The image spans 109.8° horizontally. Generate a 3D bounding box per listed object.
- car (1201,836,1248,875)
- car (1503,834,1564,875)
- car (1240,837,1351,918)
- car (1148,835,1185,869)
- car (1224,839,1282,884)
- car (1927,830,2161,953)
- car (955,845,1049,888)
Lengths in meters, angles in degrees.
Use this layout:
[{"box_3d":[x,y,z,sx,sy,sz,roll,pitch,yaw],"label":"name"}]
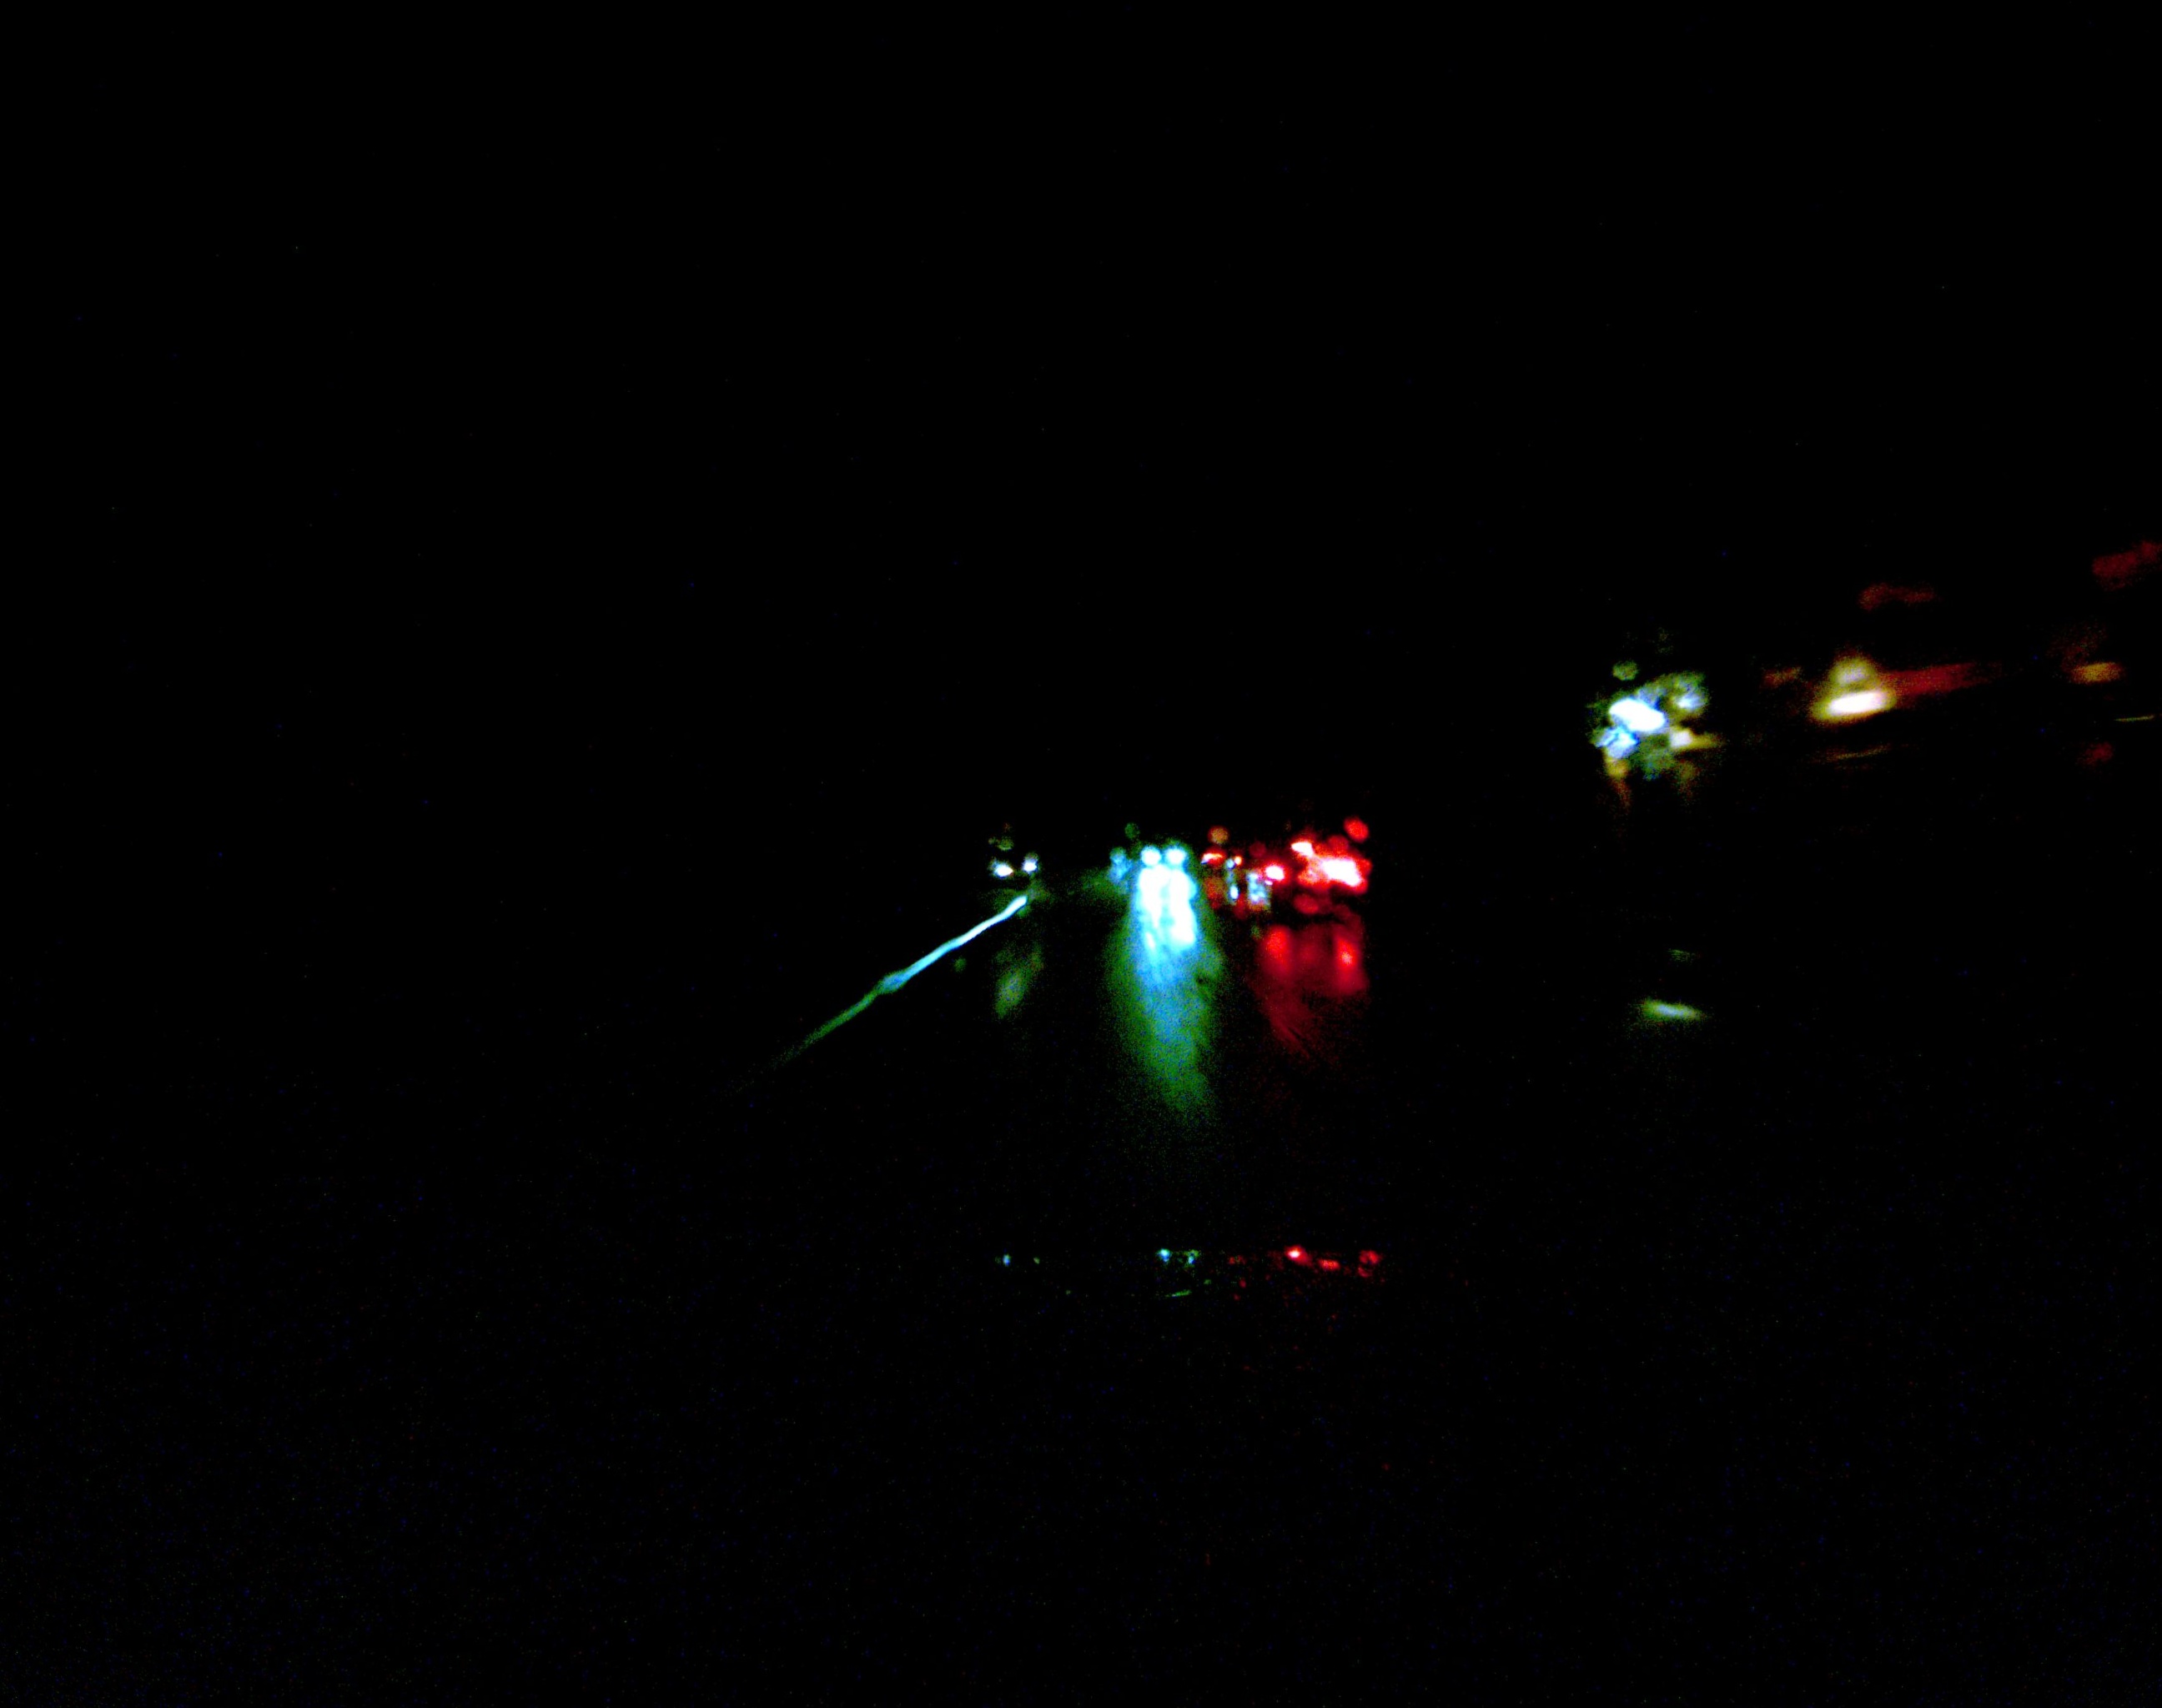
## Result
[{"box_3d":[6.791,0.017,36.056,1.959,1.513,4.400,-4,2,10],"label":"car"},{"box_3d":[17.064,-0.039,28.822,1.689,1.390,4.156,0,2,27],"label":"car"},{"box_3d":[4.859,0.465,17.709,1.699,1.590,3.801,-3,1,5],"label":"car"},{"box_3d":[5.121,-0.146,45.235,1.958,1.712,4.000,-3,3,9],"label":"car"},{"box_3d":[6.401,0.226,28.588,1.715,1.467,3.870,-4,1,8],"label":"car"},{"box_3d":[16.155,0.446,11.973,1.846,1.368,4.741,-4,2,22],"label":"car"},{"box_3d":[-3.714,0.563,34.897,1.964,1.682,4.762,-6,3,-37],"label":"car"}]
